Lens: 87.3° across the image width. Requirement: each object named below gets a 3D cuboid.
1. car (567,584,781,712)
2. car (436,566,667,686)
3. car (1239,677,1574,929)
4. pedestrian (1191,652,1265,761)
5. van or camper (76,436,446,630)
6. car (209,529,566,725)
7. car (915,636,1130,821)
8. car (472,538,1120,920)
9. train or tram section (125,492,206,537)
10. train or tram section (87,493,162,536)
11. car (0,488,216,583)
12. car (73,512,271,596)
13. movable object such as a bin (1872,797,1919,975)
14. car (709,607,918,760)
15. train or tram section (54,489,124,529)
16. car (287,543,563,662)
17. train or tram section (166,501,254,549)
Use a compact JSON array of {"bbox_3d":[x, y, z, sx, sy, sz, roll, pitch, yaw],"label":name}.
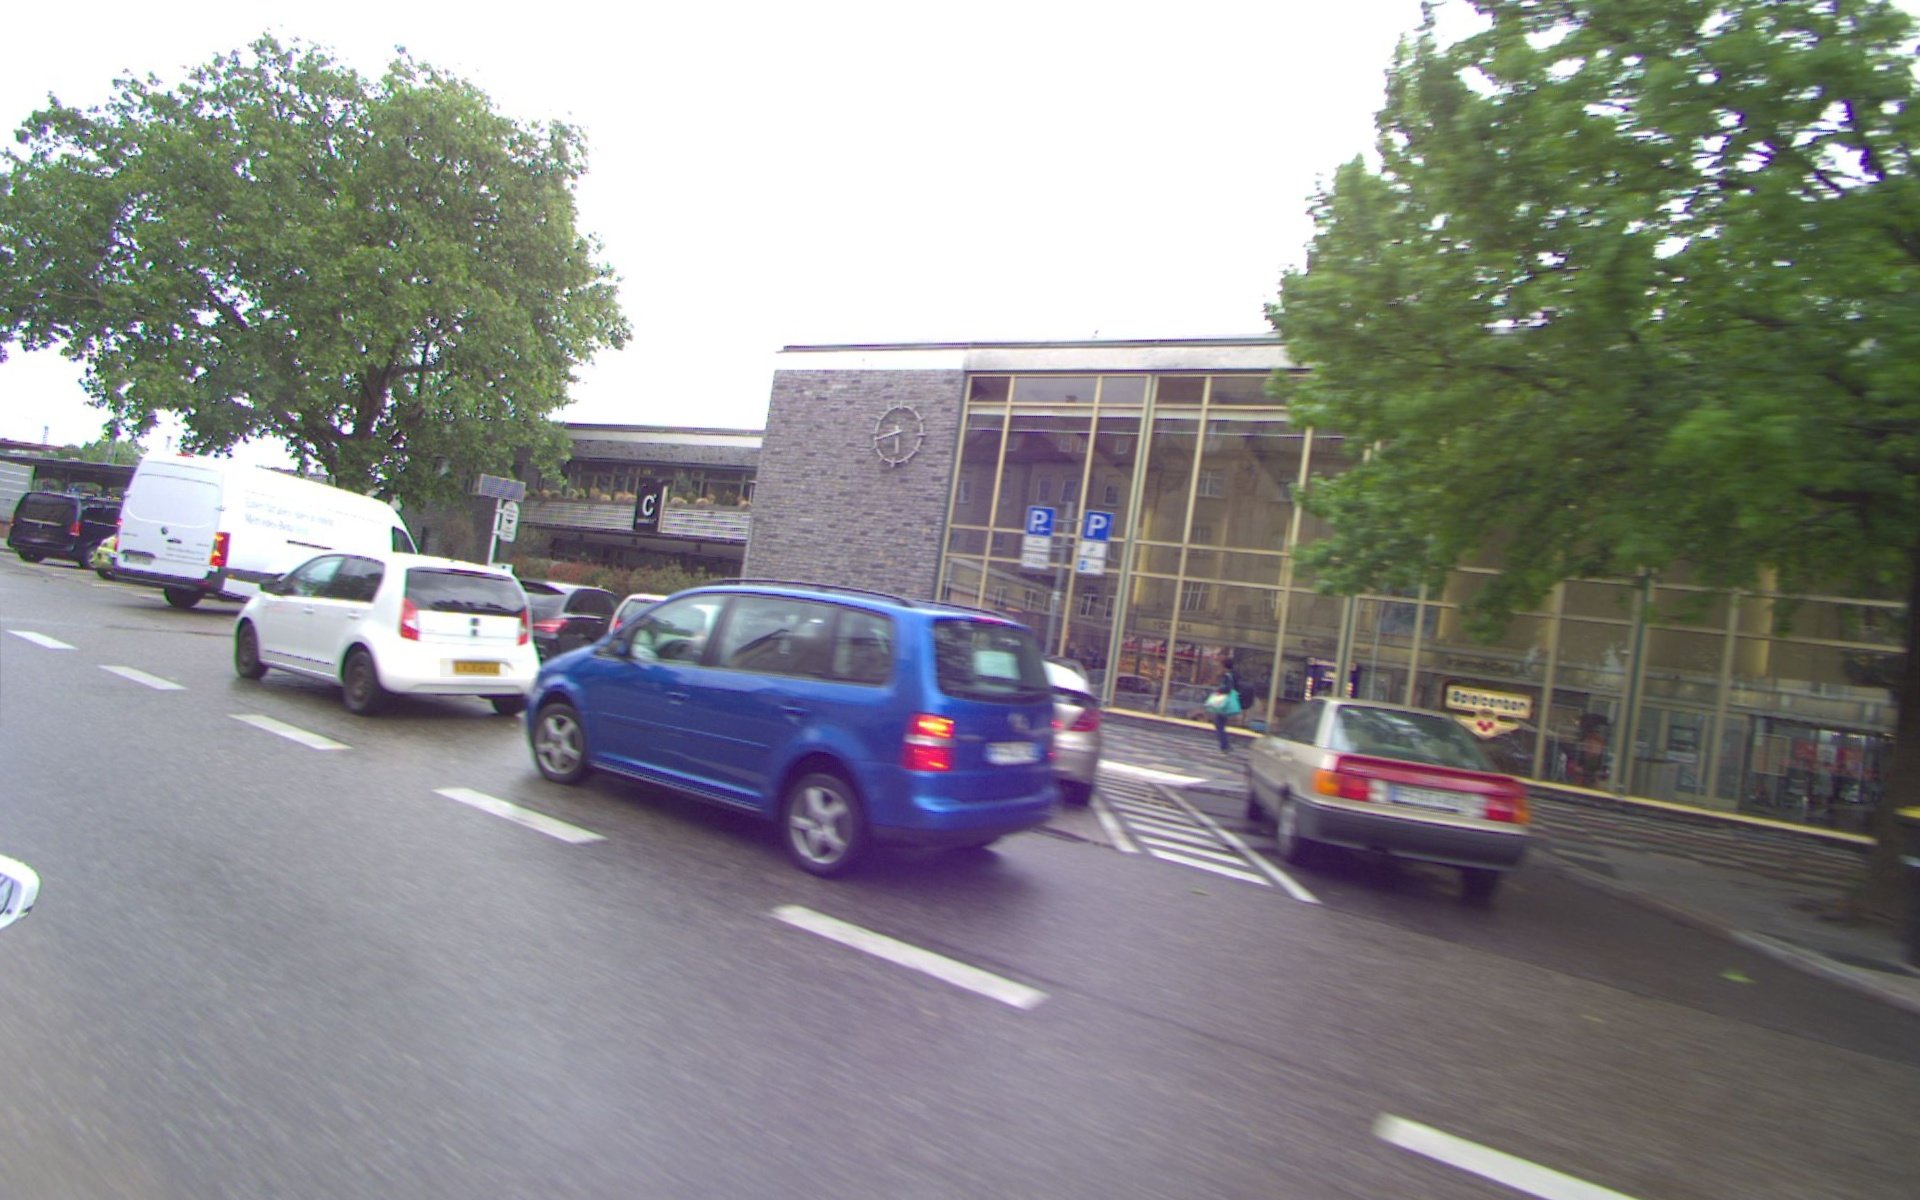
[{"bbox_3d":[-3.994,0.683,14.685,1.746,1.415,3.623,8,-2,4],"label":"car"},{"bbox_3d":[-6.117,0.421,15.568,1.746,1.415,3.693,8,-2,4],"label":"car"},{"bbox_3d":[3.663,1.560,9.037,1.745,1.415,3.936,7,-2,11],"label":"car"},{"bbox_3d":[4.426,1.747,16.608,0.819,1.661,0.758,7,-1,31],"label":"pedestrian"},{"bbox_3d":[-13.247,-1.024,19.926,2.237,2.903,6.535,7,-1,3],"label":"van or camper"},{"bbox_3d":[-5.902,0.244,10.273,3.531,1.492,1.659,7,-1,34],"label":"car"},{"bbox_3d":[0.670,1.218,10.947,1.746,1.415,3.934,8,-2,4],"label":"car"},{"bbox_3d":[-1.326,0.672,7.136,4.347,1.702,1.821,7,-1,35],"label":"car"},{"bbox_3d":[-72.826,-7.848,92.109,8.983,3.322,2.658,6,-1,32],"label":"train or tram section"},{"bbox_3d":[-80.412,-8.287,96.763,8.983,3.322,2.658,6,-1,32],"label":"train or tram section"},{"bbox_3d":[-23.336,-1.681,27.542,2.069,1.896,4.704,8,-2,4],"label":"car"},{"bbox_3d":[-19.179,-1.048,24.703,1.730,1.542,3.593,8,-1,4],"label":"car"},{"bbox_3d":[6.809,1.984,6.835,0.591,1.120,0.725,7,-1,22],"label":"movable object such as a bin"},{"bbox_3d":[-1.665,0.970,12.699,1.746,1.415,3.623,8,-2,4],"label":"car"},{"bbox_3d":[-87.839,-9.207,101.416,8.618,3.322,2.658,6,-1,32],"label":"train or tram section"},{"bbox_3d":[-8.695,0.117,16.919,1.884,1.488,4.474,8,-2,4],"label":"car"},{"bbox_3d":[-65.211,-6.580,87.387,9.362,3.322,2.658,6,-1,32],"label":"train or tram section"}]
